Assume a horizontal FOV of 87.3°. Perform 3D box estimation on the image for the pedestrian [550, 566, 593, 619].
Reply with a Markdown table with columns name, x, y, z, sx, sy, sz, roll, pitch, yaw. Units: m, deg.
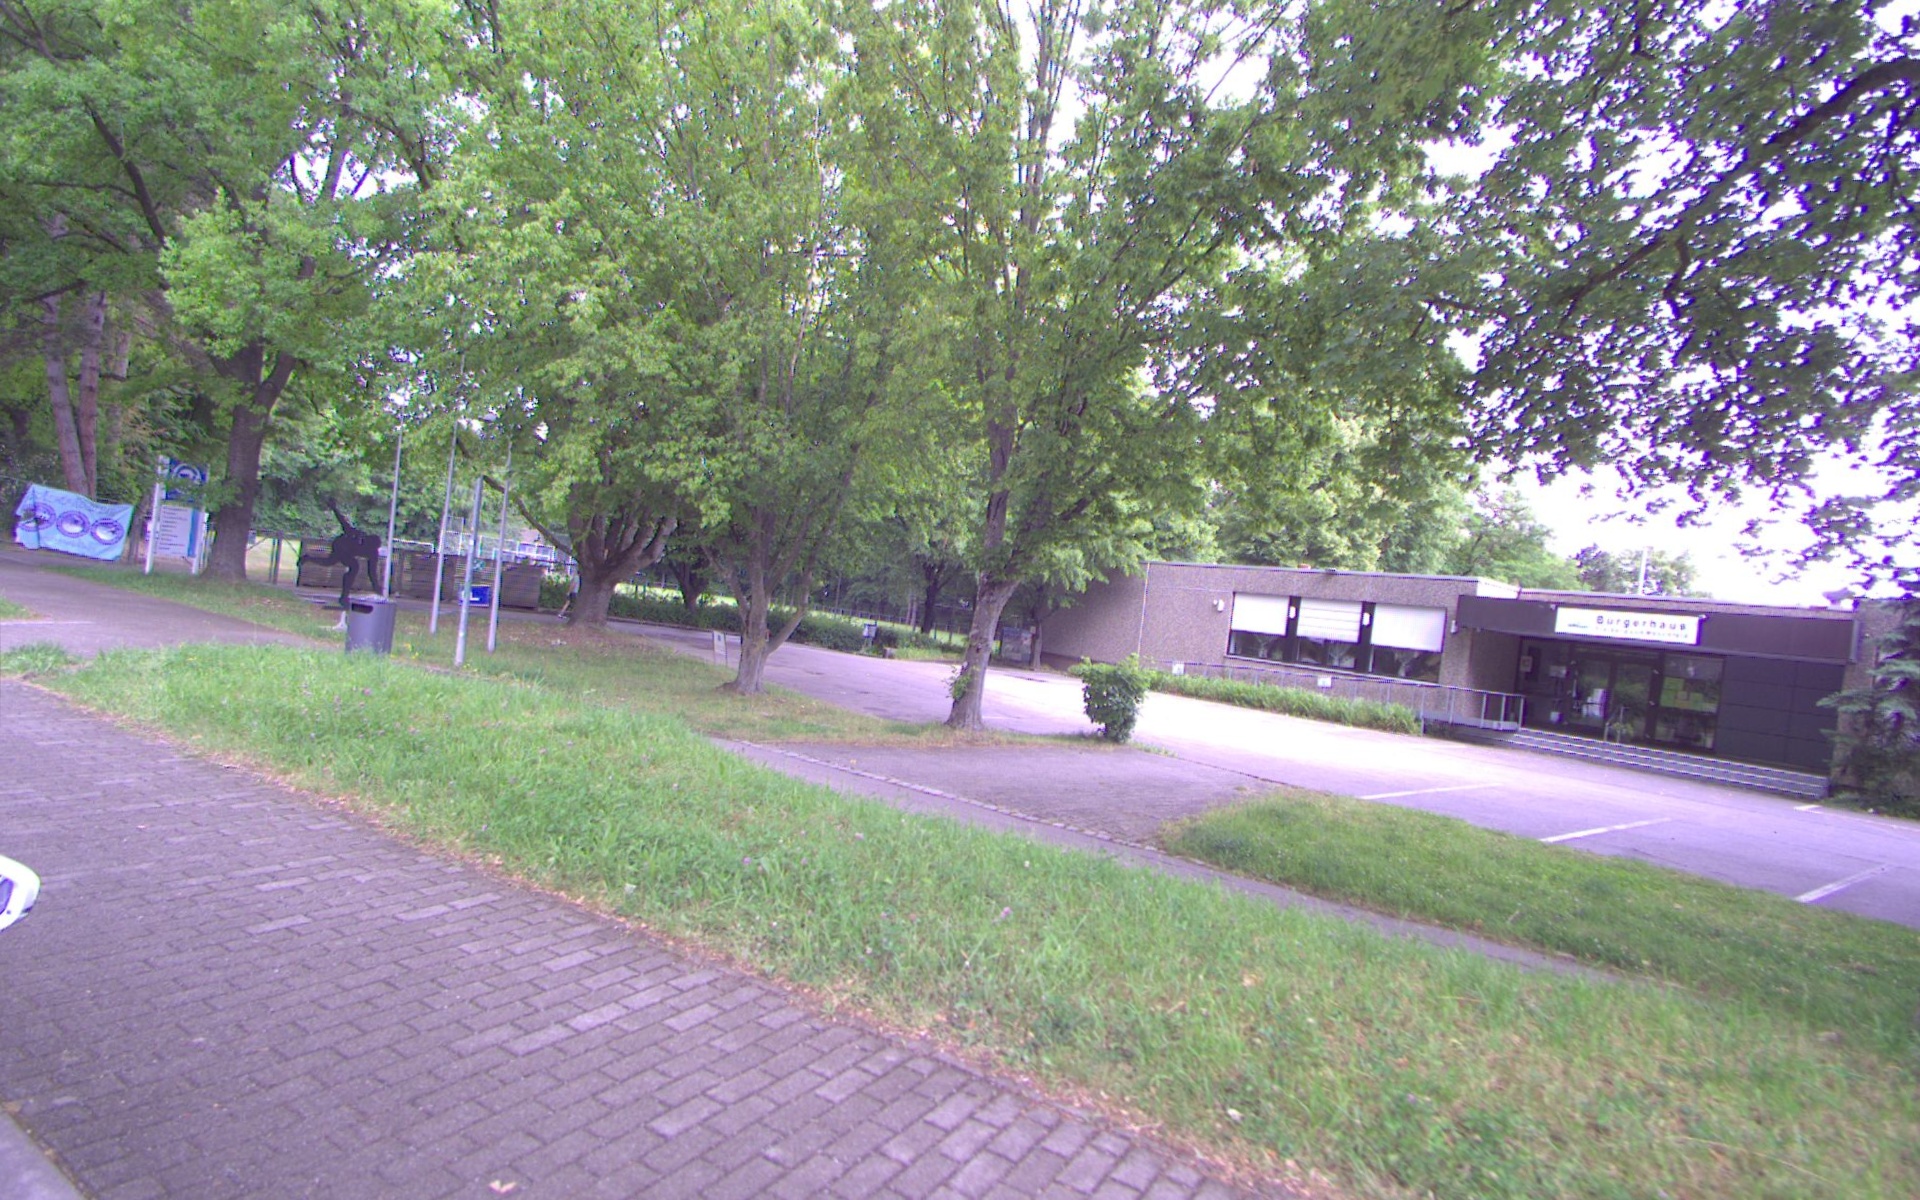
| name | x | y | z | sx | sy | sz | roll | pitch | yaw |
| --- | --- | --- | --- | --- | --- | --- | --- | --- | --- |
| pedestrian | -13.556 | -0.263 | 35.080 | 1.139 | 1.695 | 0.786 | 5 | 1 | -33 |
